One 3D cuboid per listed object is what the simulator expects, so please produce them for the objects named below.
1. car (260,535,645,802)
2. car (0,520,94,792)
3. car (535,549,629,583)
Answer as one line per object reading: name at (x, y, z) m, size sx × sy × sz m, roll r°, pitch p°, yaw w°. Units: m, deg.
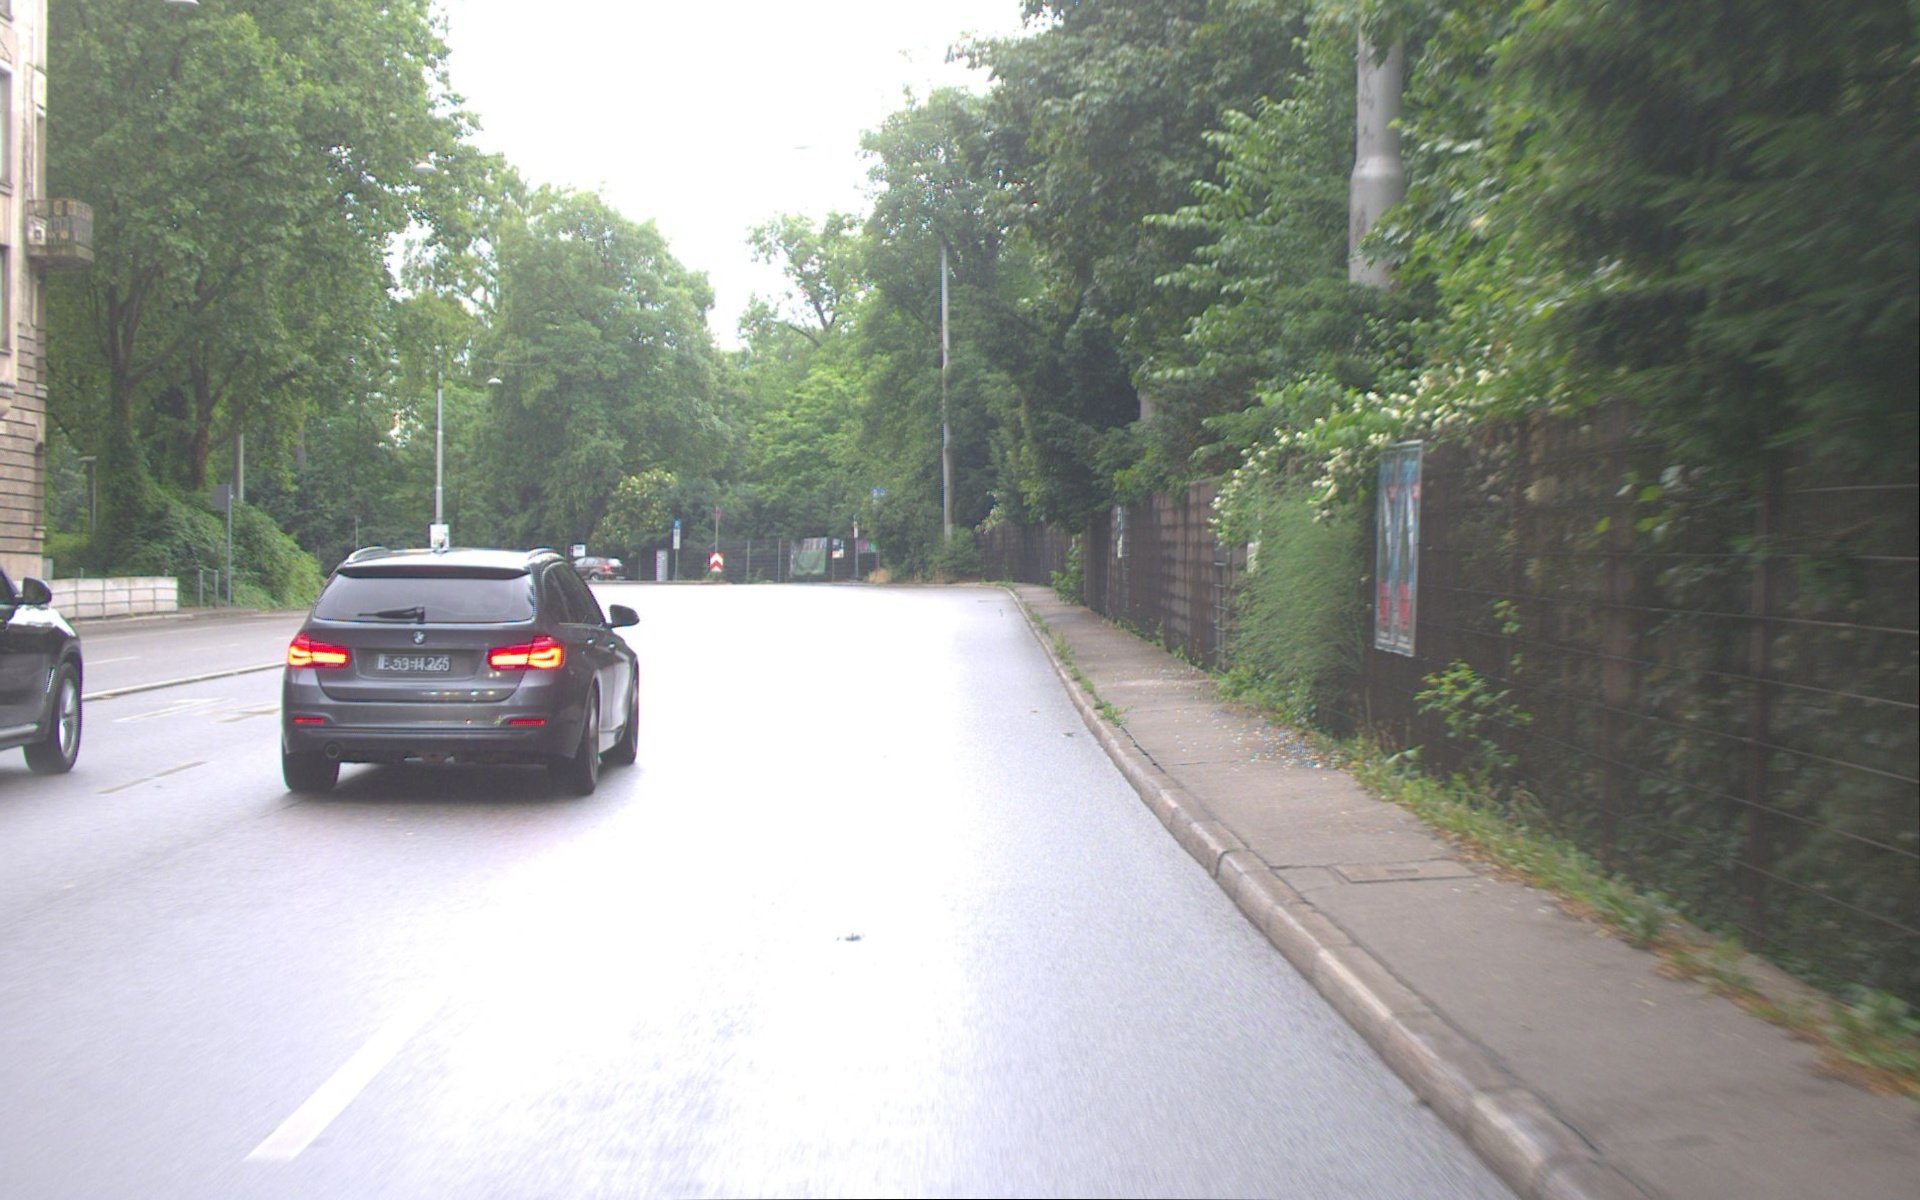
car at (-3.023, 0.349, 21.317) m, size 1.757 × 1.427 × 4.413 m, roll 2°, pitch 1°, yaw -1°
car at (-6.438, 0.311, 19.960) m, size 1.757 × 1.580 × 4.413 m, roll 1°, pitch 1°, yaw -1°
car at (-17.030, -1.538, 154.819) m, size 4.368 × 1.422 × 1.688 m, roll 1°, pitch -2°, yaw 43°
